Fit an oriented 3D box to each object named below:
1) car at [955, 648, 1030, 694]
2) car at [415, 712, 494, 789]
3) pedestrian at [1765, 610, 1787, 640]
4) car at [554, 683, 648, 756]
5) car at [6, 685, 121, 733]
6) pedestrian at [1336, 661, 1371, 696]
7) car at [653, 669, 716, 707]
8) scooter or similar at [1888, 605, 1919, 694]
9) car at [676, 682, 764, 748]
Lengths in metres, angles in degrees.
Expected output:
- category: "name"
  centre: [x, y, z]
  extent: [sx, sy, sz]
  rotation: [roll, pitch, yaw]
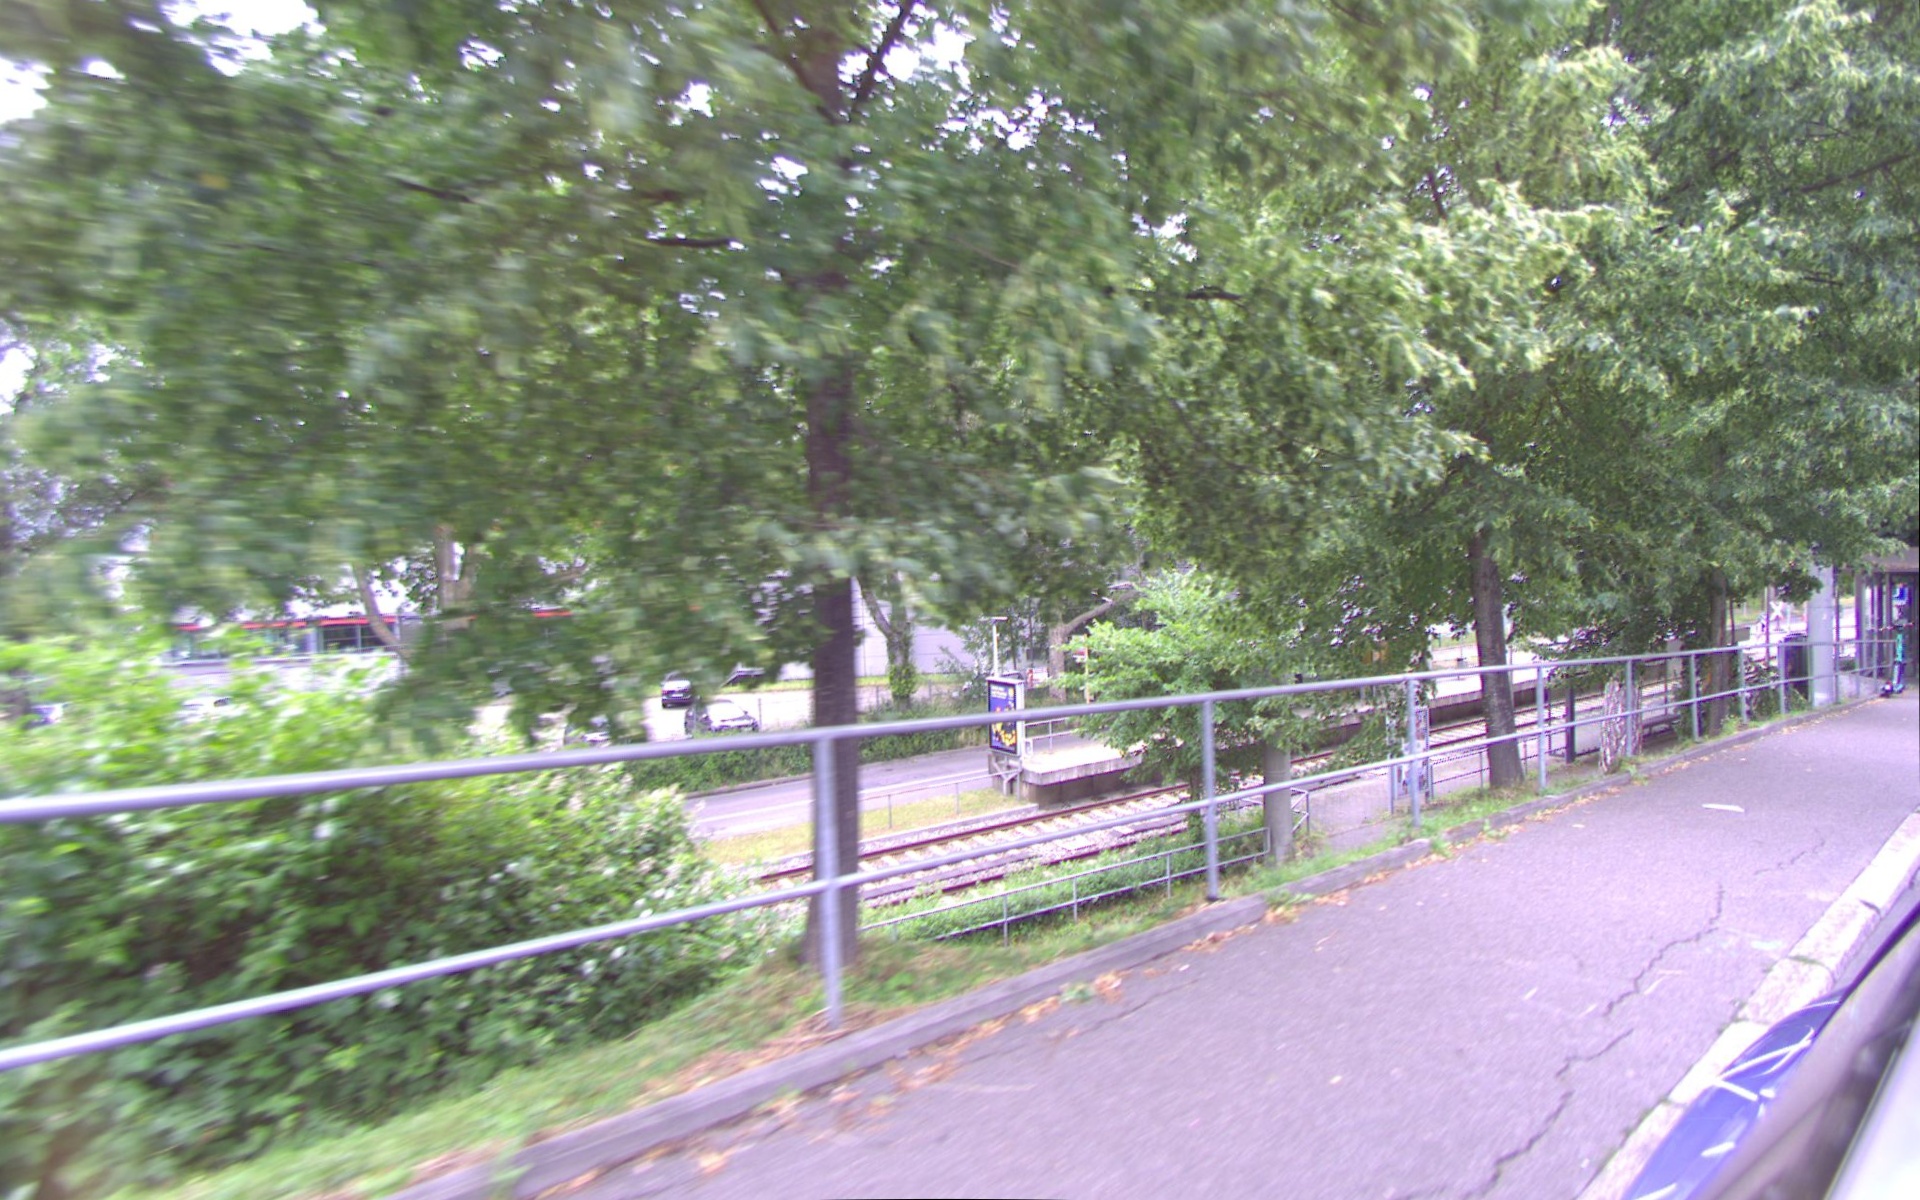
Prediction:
- category: "car"
  centre: [1.450, 3.221, 46.481]
  extent: [1.958, 1.724, 4.007]
  rotation: [-1, 1, -23]
- category: "car"
  centre: [-16.963, 4.940, 33.821]
  extent: [1.961, 1.814, 4.585]
  rotation: [-1, 1, -31]
- category: "pedestrian"
  centre: [46.841, 1.415, 58.088]
  extent: [0.670, 1.697, 0.754]
  rotation: [-1, 0, -29]
- category: "car"
  centre: [-12.858, 4.183, 36.100]
  extent: [1.964, 2.039, 3.996]
  rotation: [-1, 0, -38]
- category: "car"
  centre: [-43.659, 5.273, 49.421]
  extent: [1.960, 1.485, 4.352]
  rotation: [-1, 4, -6]
- category: "pedestrian"
  centre: [14.461, 2.879, 37.194]
  extent: [0.935, 1.181, 0.779]
  rotation: [-1, 0, -34]
- category: "car"
  centre: [-13.554, 4.328, 50.036]
  extent: [1.962, 1.393, 4.534]
  rotation: [-1, 1, -1]
- category: "scooter or similar"
  centre: [15.824, 0.799, 16.815]
  extent: [1.430, 1.402, 0.430]
  rotation: [-1, 0, -41]
- category: "car"
  centre: [-9.377, 4.389, 39.342]
  extent: [1.962, 2.039, 4.000]
  rotation: [-1, 0, -35]
